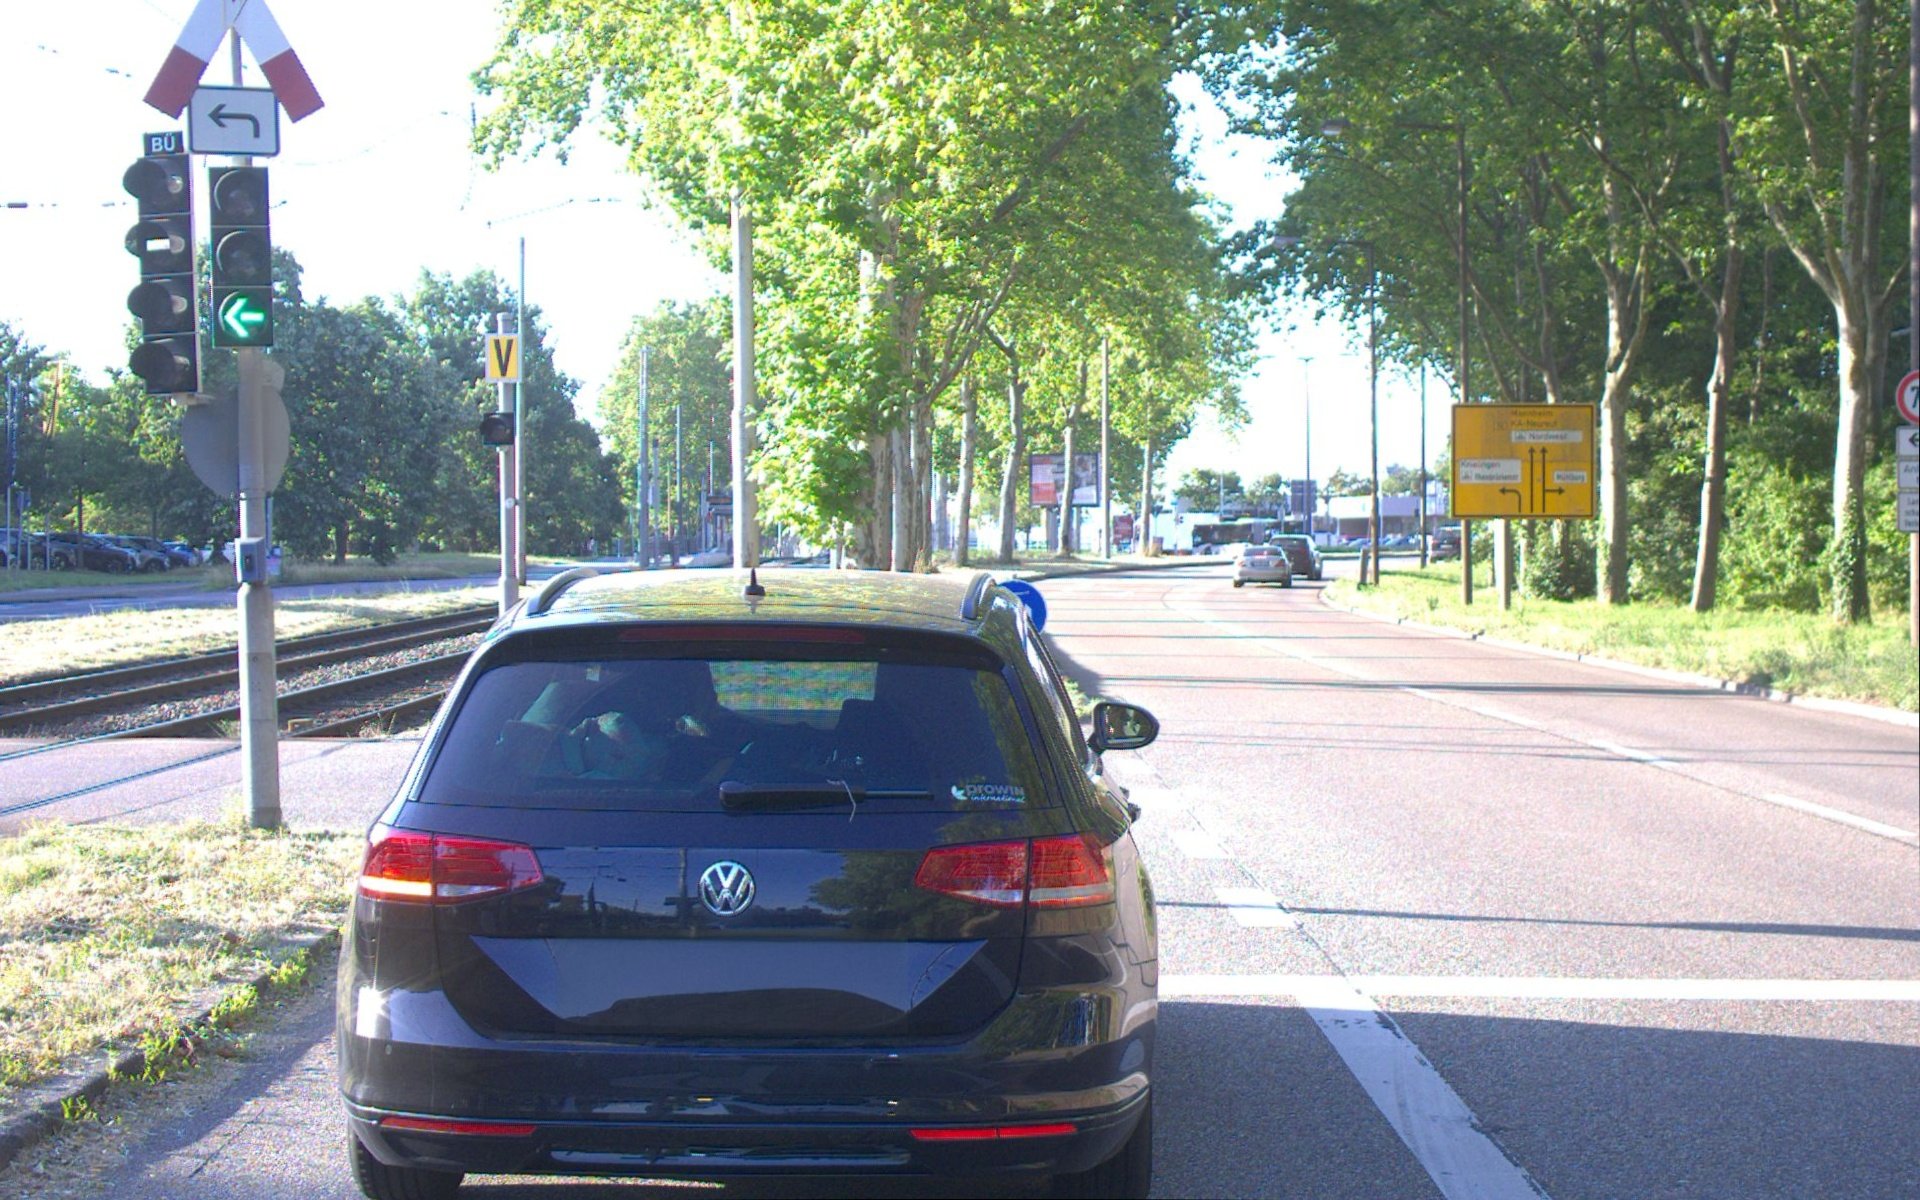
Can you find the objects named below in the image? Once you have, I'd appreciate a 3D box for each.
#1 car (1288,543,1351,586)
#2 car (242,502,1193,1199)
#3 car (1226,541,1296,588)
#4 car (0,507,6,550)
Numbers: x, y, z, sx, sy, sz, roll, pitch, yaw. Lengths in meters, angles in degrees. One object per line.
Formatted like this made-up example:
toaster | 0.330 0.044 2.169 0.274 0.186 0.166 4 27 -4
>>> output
car | 12.390 -1.239 118.273 1.994 1.435 3.999 1 1 8
car | -0.495 0.577 8.795 1.824 1.550 4.259 1 1 -1
car | 9.395 -1.115 107.602 1.994 1.437 4.000 1 1 3
car | -36.469 -2.611 124.182 3.786 1.562 1.760 1 1 -19
